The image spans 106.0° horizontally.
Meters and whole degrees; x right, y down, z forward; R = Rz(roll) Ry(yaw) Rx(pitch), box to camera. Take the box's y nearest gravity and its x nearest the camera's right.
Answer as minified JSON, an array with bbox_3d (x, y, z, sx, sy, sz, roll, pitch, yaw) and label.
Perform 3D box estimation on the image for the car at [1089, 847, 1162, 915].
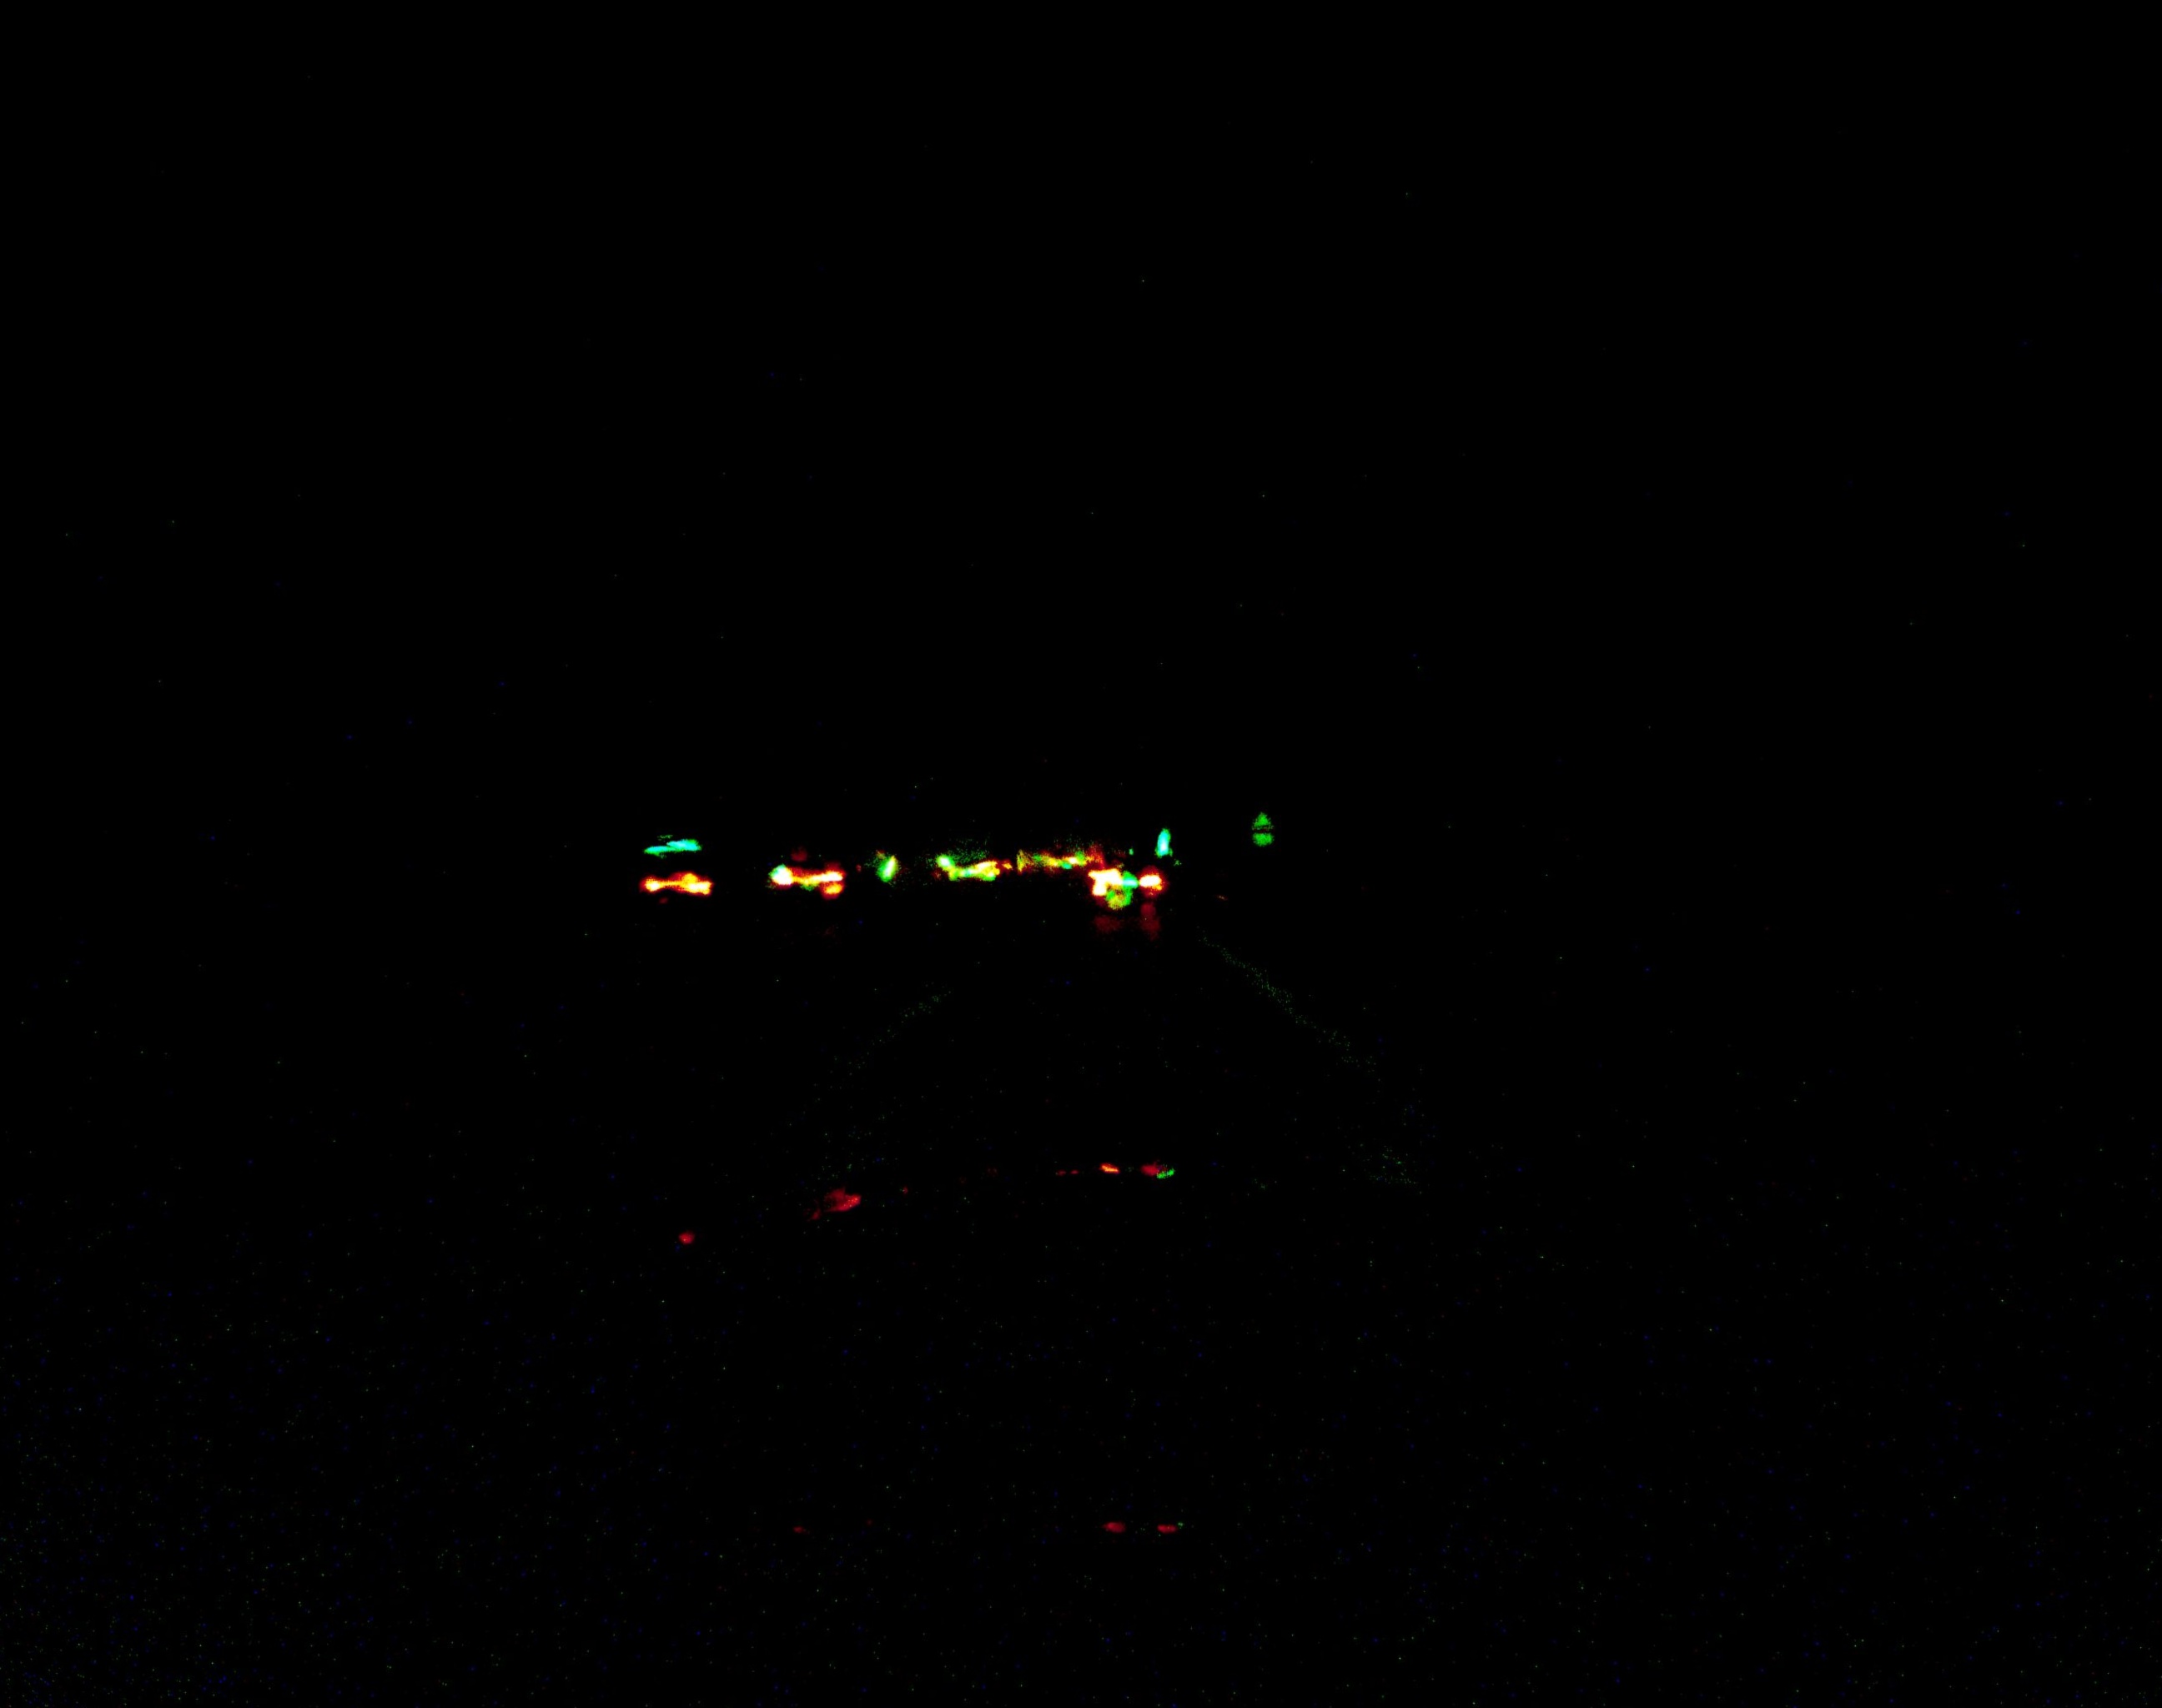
[{"bbox_3d":[1.253,0.709,23.193,1.870,1.762,4.003,0,0,3],"label":"car"}]

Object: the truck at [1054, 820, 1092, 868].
[{"bbox_3d":[-0.896,-1.107,94.286,4.149,5.215,9.950,0,0,-1],"label":"truck"}]

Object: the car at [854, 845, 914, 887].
[{"bbox_3d":[-10.704,0.613,44.692,2.118,2.104,5.623,-1,0,-3],"label":"car"}]

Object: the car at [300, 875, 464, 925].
[{"bbox_3d":[-23.352,1.484,27.459,1.685,1.470,4.327,0,0,1],"label":"car"}]

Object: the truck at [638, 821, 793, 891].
[{"bbox_3d":[-26.512,0.178,60.918,3.194,4.460,17.497,0,0,2],"label":"truck"}]

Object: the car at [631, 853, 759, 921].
[{"bbox_3d":[-10.746,0.837,23.032,1.761,1.689,3.998,-1,1,-1],"label":"car"}]

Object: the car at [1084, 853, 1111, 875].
[{"bbox_3d":[1.353,0.770,64.705,1.986,1.704,4.461,0,0,2],"label":"car"}]

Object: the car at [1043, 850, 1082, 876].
[{"bbox_3d":[-1.464,0.734,67.708,2.821,2.013,5.514,0,0,2],"label":"car"}]

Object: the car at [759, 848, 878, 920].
[{"bbox_3d":[-7.088,0.754,22.542,2.034,1.761,4.510,0,0,-3],"label":"car"}]

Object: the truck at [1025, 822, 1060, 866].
[{"bbox_3d":[-4.919,-1.227,105.931,4.242,5.444,10.877,0,0,-1],"label":"truck"}]

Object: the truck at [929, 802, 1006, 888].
[{"bbox_3d":[-6.706,-0.474,49.912,3.647,4.737,9.844,0,0,-2],"label":"truck"}]
